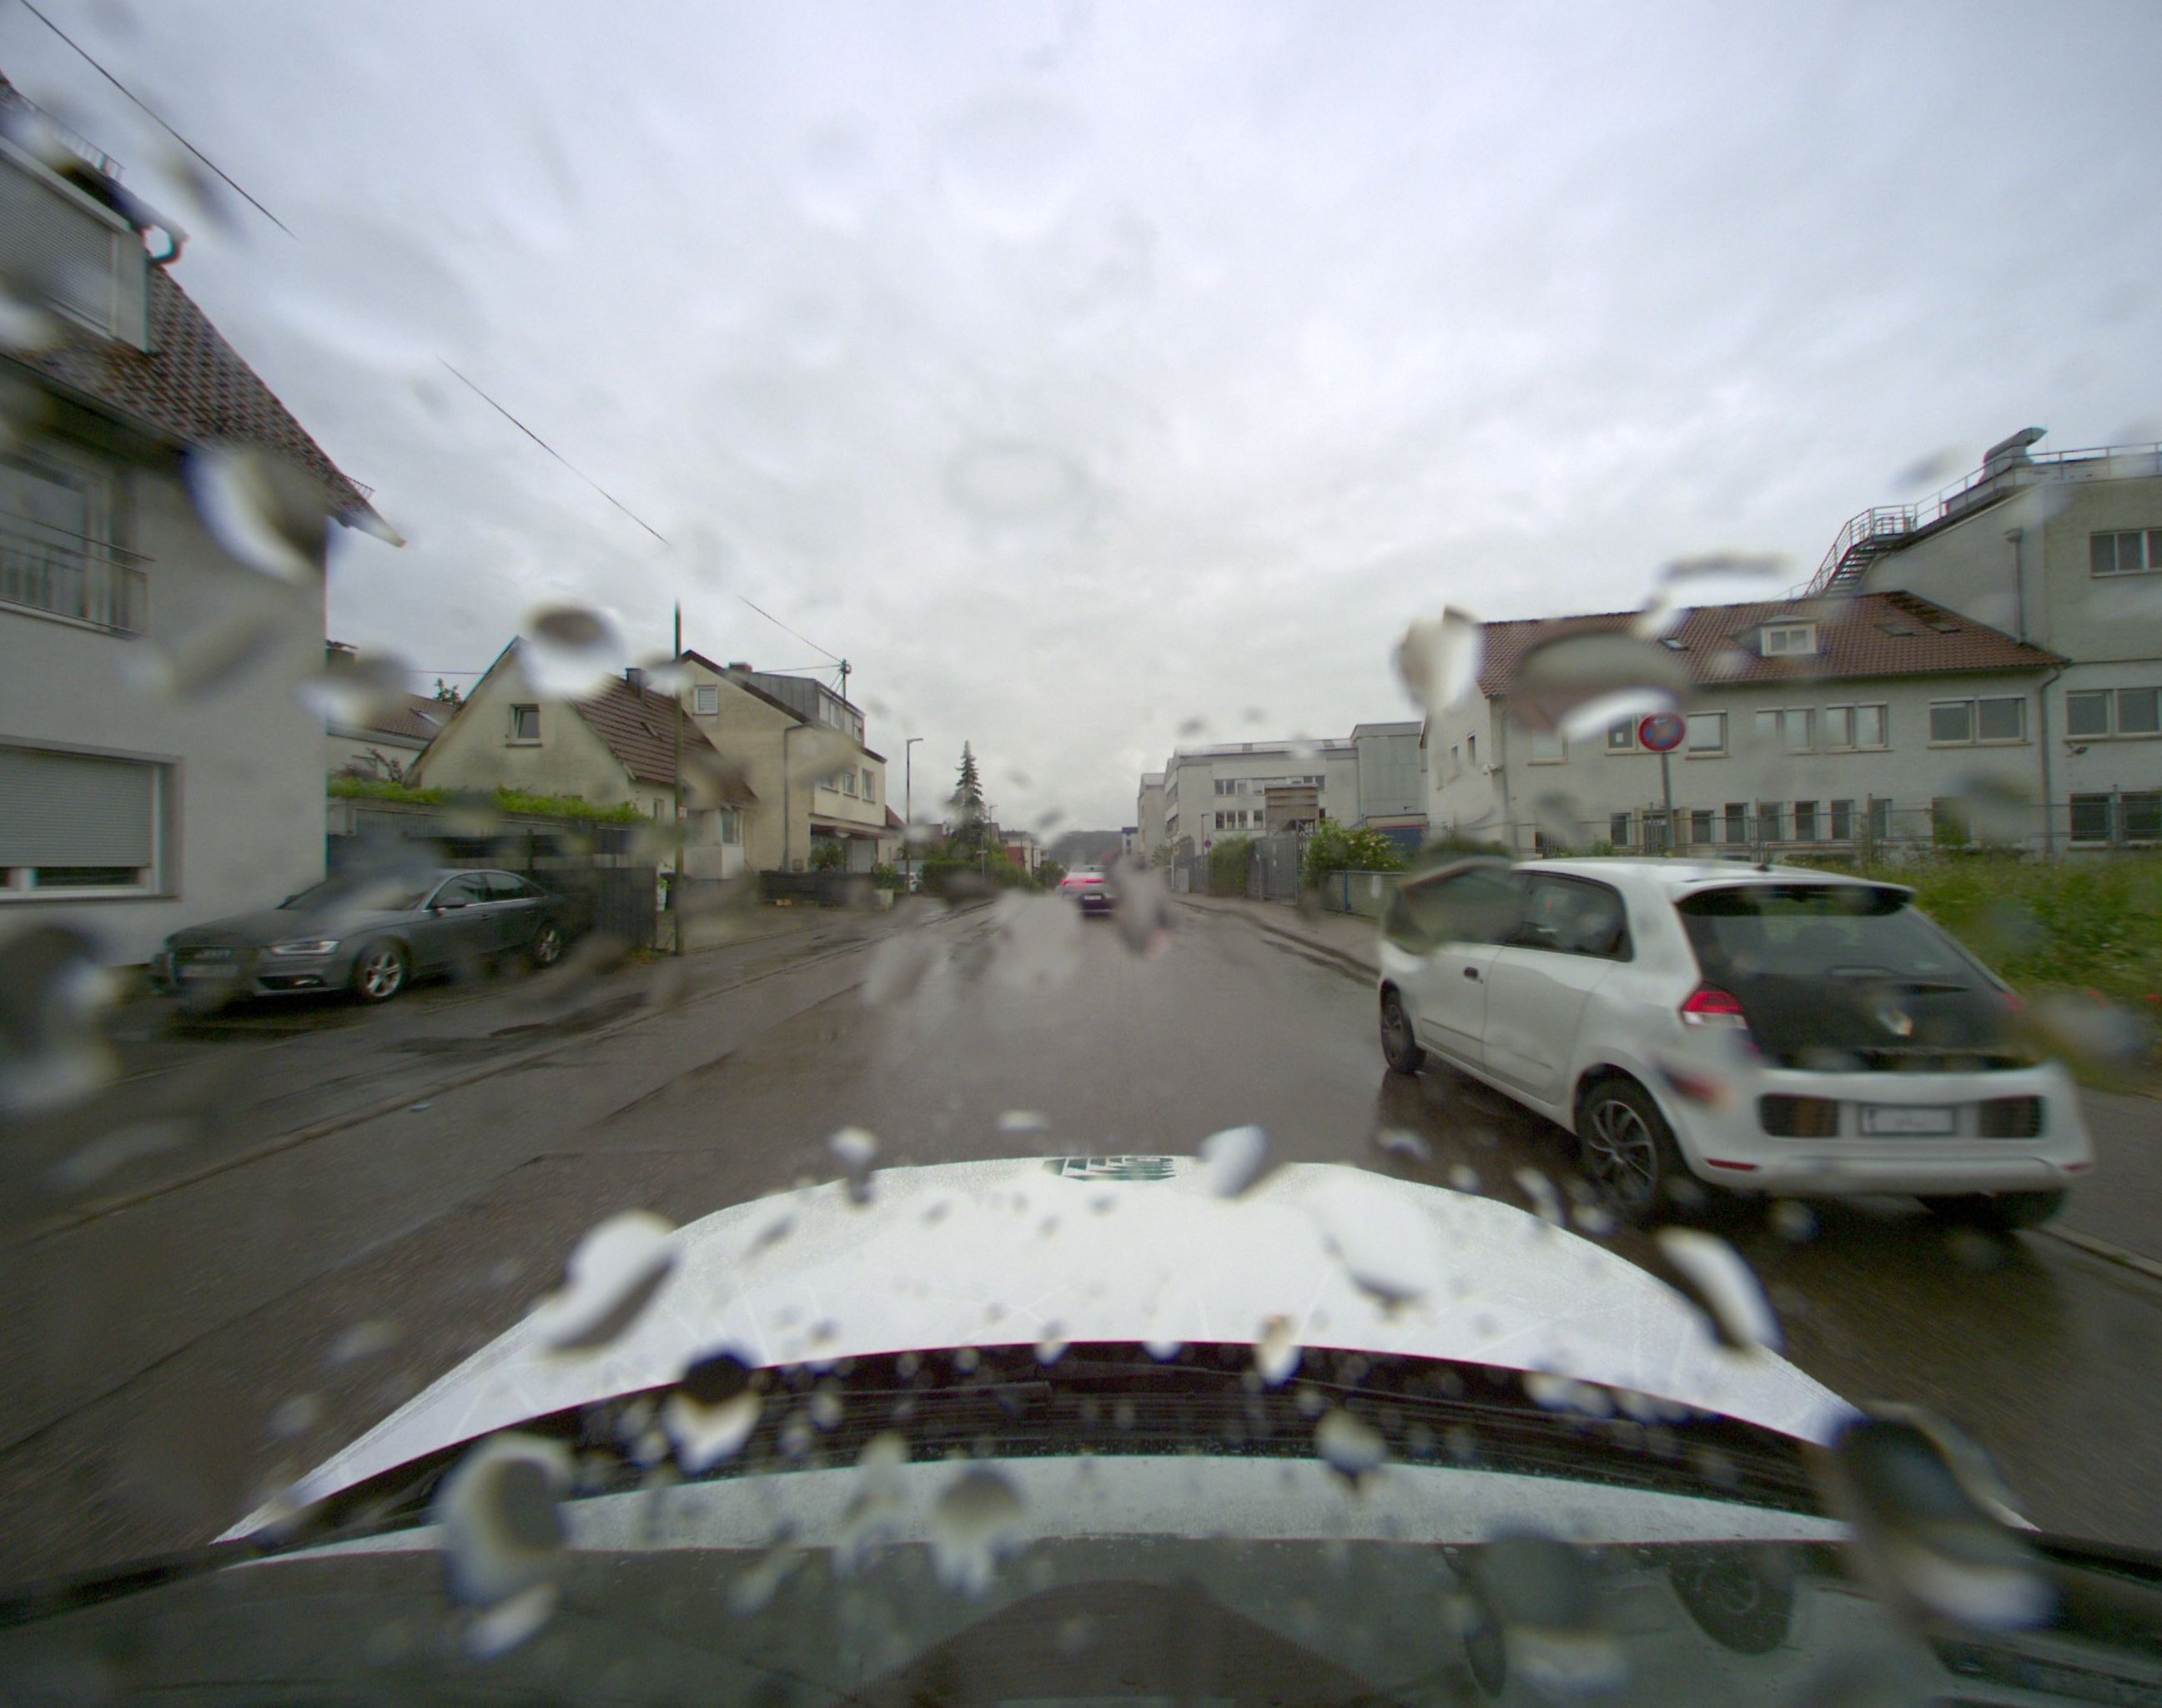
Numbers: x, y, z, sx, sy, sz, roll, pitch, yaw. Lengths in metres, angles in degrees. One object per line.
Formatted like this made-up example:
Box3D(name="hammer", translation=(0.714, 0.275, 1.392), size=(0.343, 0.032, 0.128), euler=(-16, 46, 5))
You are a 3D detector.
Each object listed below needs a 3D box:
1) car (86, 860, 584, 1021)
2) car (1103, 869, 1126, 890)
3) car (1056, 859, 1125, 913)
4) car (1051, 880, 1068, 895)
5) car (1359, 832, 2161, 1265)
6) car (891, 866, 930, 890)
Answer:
Box3D(name="car", translation=(-8.200, 0.814, 9.730), size=(1.822, 1.368, 4.565), euler=(2, 0, -3))
Box3D(name="car", translation=(3.532, 2.697, 86.030), size=(1.989, 2.014, 3.995), euler=(-2, -3, -3))
Box3D(name="car", translation=(0.317, 0.953, 26.086), size=(1.987, 1.502, 4.670), euler=(-1, 0, 1))
Box3D(name="car", translation=(-2.277, 3.568, 87.784), size=(1.670, 1.528, 3.999), euler=(-1, -2, 0))
Box3D(name="car", translation=(3.092, 0.699, 4.787), size=(1.676, 1.557, 3.674), euler=(0, 0, 0))
Box3D(name="car", translation=(-11.765, 1.632, 56.372), size=(1.788, 1.508, 4.000), euler=(-1, 0, 1))
